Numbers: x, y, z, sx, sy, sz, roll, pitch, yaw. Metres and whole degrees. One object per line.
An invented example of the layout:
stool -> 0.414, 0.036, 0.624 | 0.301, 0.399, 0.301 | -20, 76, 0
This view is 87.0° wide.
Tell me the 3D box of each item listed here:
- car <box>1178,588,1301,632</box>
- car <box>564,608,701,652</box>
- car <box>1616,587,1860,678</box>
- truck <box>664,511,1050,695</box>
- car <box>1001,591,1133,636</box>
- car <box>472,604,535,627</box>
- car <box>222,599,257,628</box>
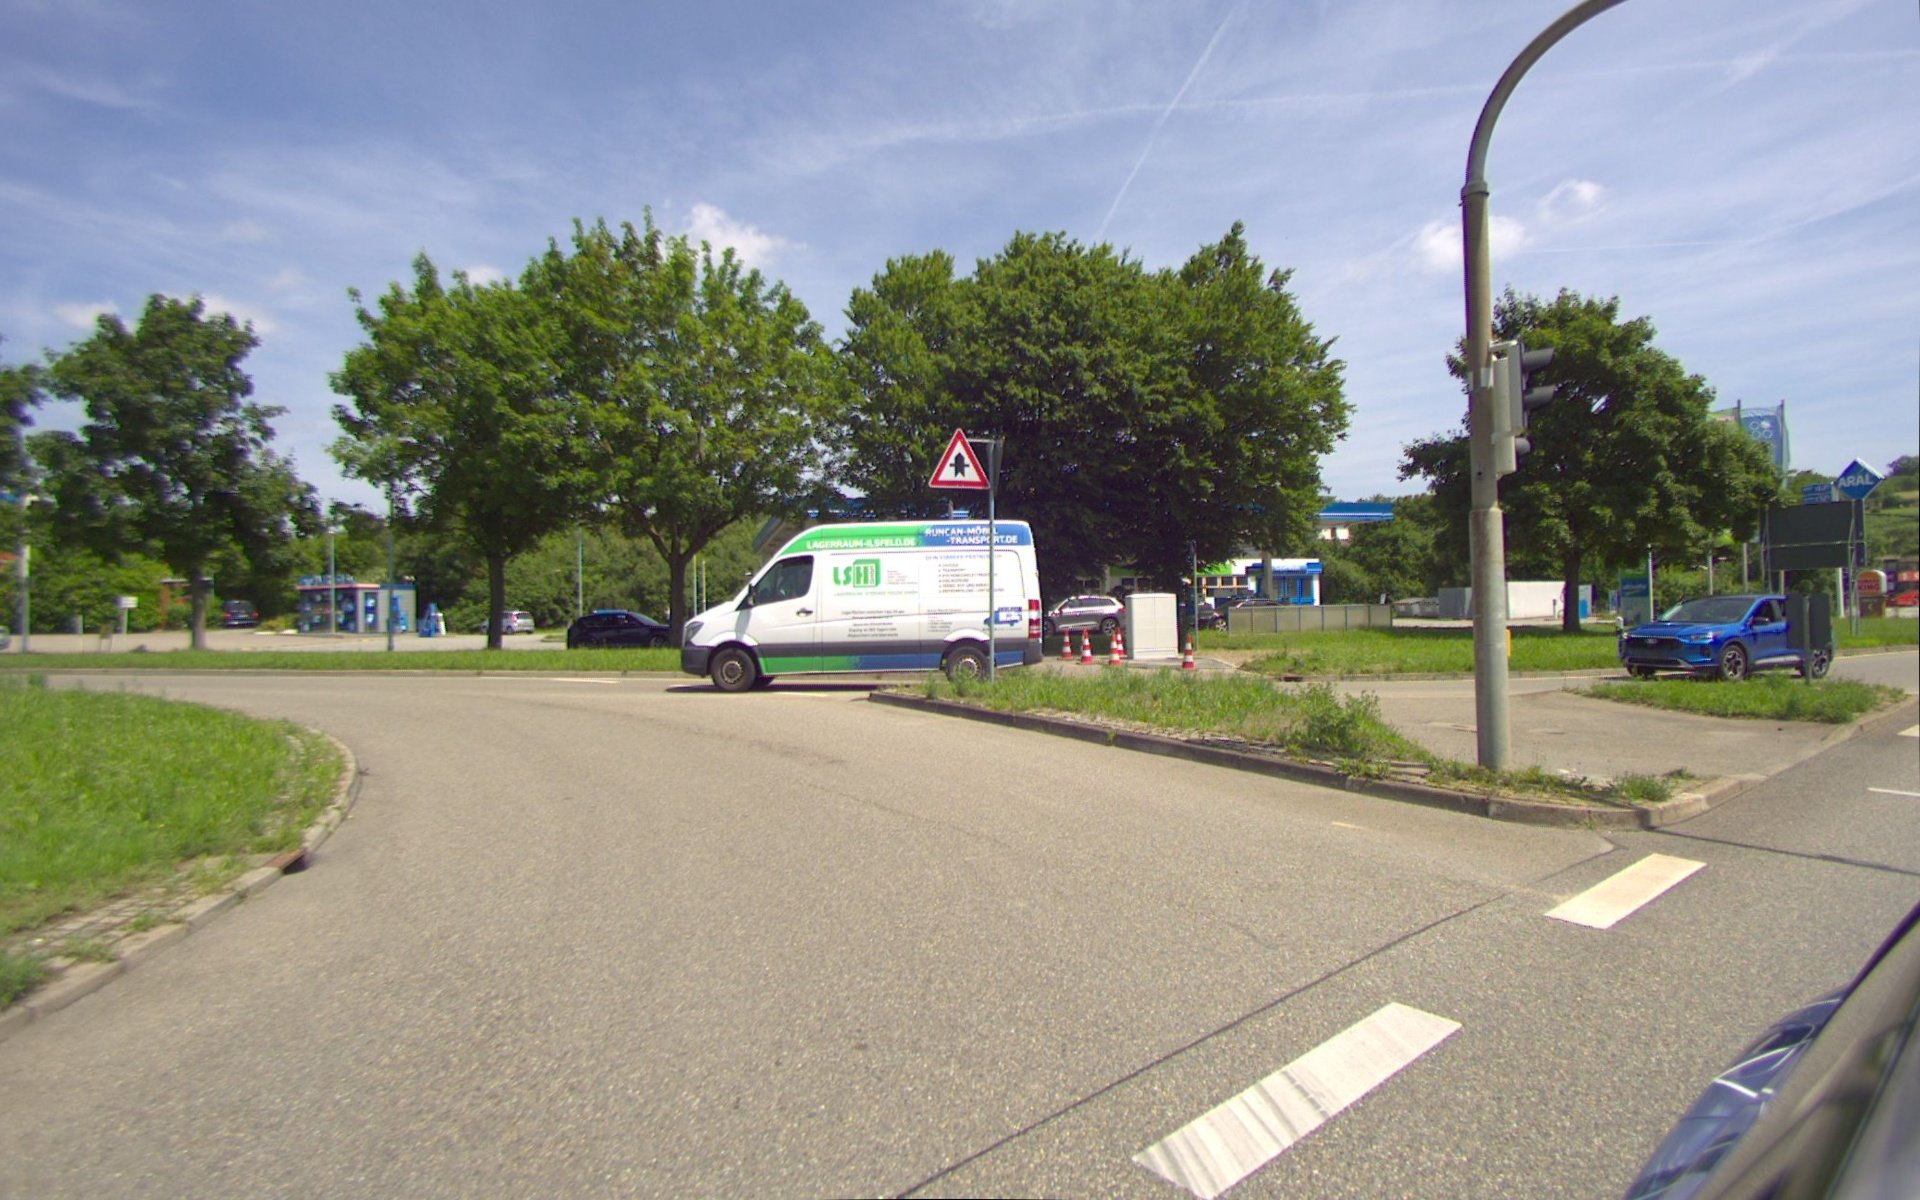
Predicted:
car -> 11.658, 0.380, 42.356 | 4.534, 1.642, 2.004 | -1, 1, -12
car -> -11.502, 1.045, 35.715 | 4.240, 1.380, 1.759 | -1, 1, 2
car -> 15.209, 0.572, 19.791 | 4.296, 1.578, 1.788 | -1, 0, -21
truck -> -1.553, 0.062, 16.315 | 5.832, 2.772, 2.072 | 0, -1, 1
car -> 4.258, 0.509, 40.681 | 4.837, 1.623, 2.043 | -1, 1, -12
car -> -29.382, 1.011, 65.159 | 3.802, 1.397, 1.712 | -1, 0, 26
car -> -50.270, 0.907, 70.560 | 1.805, 1.861, 3.997 | -1, 1, -38
